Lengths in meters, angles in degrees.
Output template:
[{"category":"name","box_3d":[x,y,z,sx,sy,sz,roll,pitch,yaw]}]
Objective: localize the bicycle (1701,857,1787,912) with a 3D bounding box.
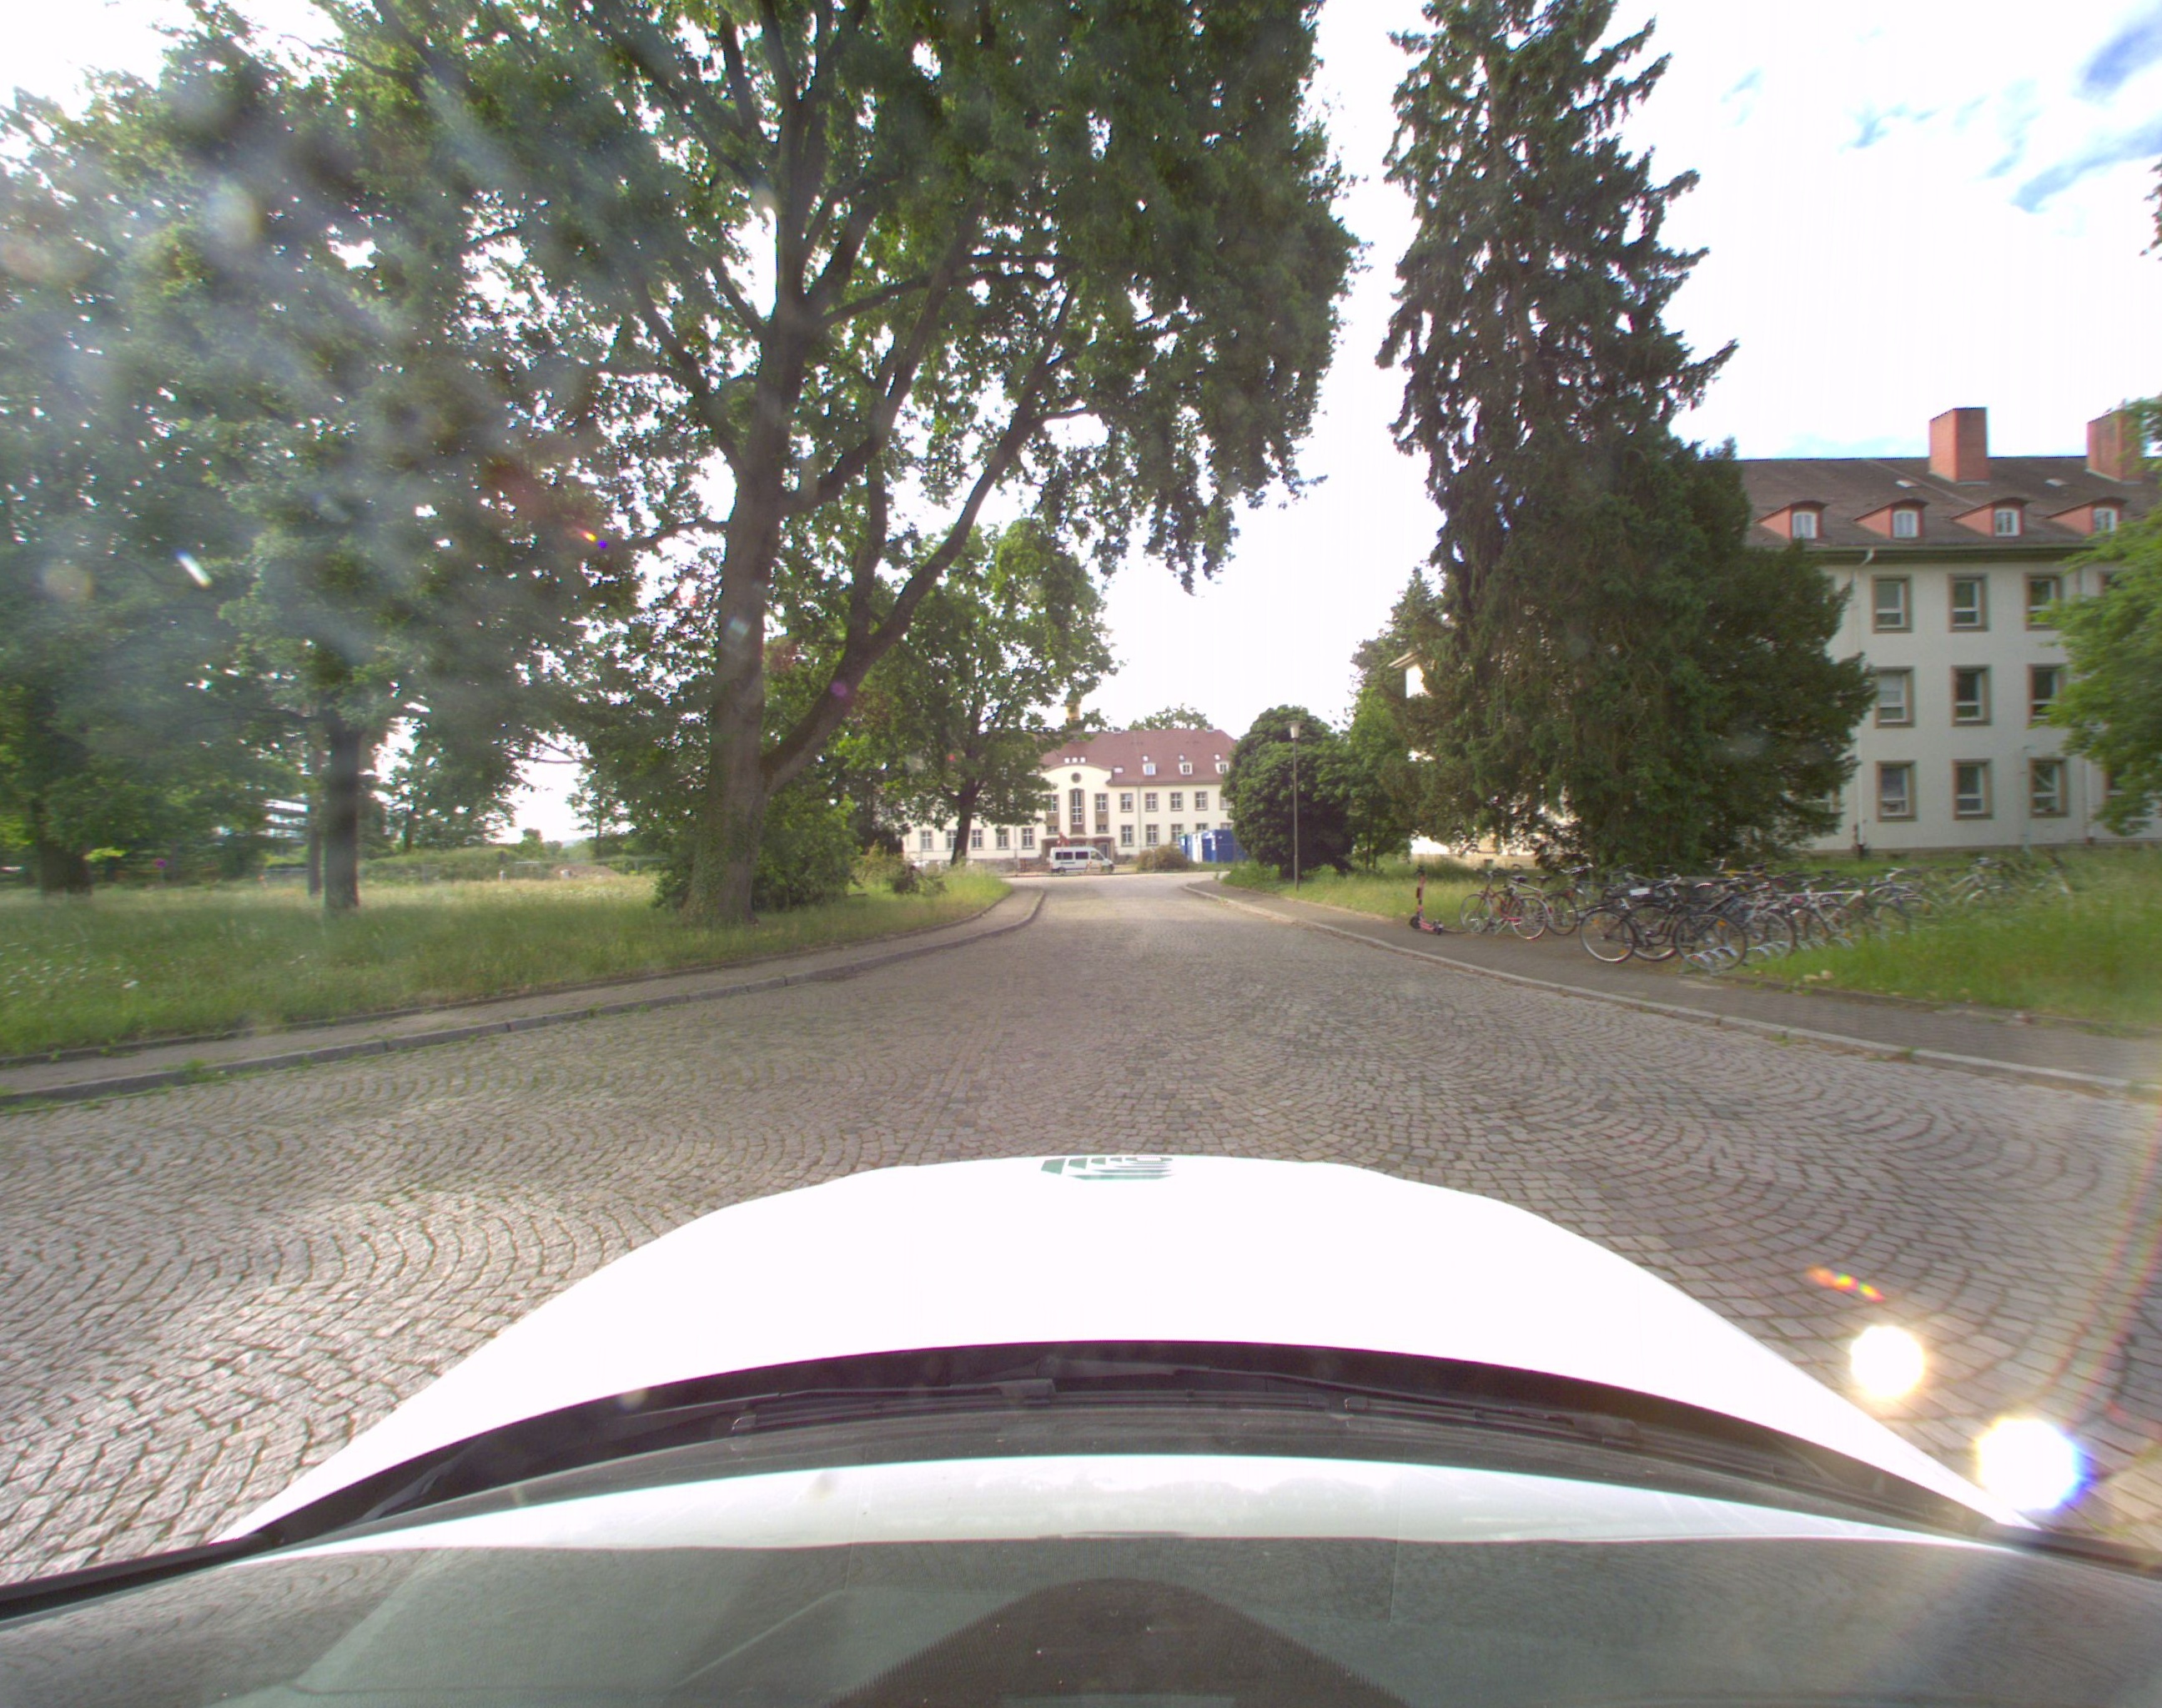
[{"category":"bicycle","box_3d":[12.920,0.594,15.905,0.434,1.029,1.254,1,-2,-20]}]

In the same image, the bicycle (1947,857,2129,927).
[{"category":"bicycle","box_3d":[13.921,0.540,11.913,0.527,0.911,1.610,-4,0,-20]}]

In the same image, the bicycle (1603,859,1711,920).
[{"category":"bicycle","box_3d":[10.540,0.633,14.951,0.547,1.035,1.501,-4,1,-31]}]

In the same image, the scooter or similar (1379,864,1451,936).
[{"category":"scooter or similar","box_3d":[6.040,0.808,14.826,0.677,1.195,1.553,-2,0,2]}]

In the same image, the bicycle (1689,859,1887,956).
[{"category":"bicycle","box_3d":[9.148,0.660,10.632,0.703,1.103,1.787,-4,0,-20]}]

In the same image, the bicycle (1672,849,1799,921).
[{"category":"bicycle","box_3d":[11.625,0.529,14.521,0.575,1.185,1.629,-4,1,-27]}]

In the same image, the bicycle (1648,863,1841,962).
[{"category":"bicycle","box_3d":[8.429,0.708,10.453,0.703,1.103,1.761,-4,0,-20]}]

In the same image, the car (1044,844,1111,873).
[{"category":"car","box_3d":[-0.285,0.372,67.754,5.499,2.206,2.125,-1,3,-2]}]

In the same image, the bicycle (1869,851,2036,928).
[{"category":"bicycle","box_3d":[13.178,0.525,12.382,0.527,1.059,1.610,-4,0,-20]}]

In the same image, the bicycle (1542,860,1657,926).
[{"category":"bicycle","box_3d":[9.151,0.670,14.441,0.541,1.073,1.613,-4,1,-31]}]

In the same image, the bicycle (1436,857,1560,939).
[{"category":"bicycle","box_3d":[6.997,0.695,13.789,0.644,1.222,1.888,-4,1,-20]}]

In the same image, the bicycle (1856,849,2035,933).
[{"category":"bicycle","box_3d":[12.718,0.525,12.049,0.542,1.116,1.690,-4,0,-20]}]

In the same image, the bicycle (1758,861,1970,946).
[{"category":"bicycle","box_3d":[10.598,0.640,11.132,0.686,1.005,1.946,-4,0,-20]}]

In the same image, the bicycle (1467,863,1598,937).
[{"category":"bicycle","box_3d":[7.692,0.740,13.993,0.644,1.114,1.978,-4,1,-20]}]

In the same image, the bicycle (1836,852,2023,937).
[{"category":"bicycle","box_3d":[12.219,0.563,11.813,0.542,1.105,1.764,-4,0,-20]}]

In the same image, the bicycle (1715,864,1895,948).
[{"category":"bicycle","box_3d":[9.750,0.674,11.058,0.632,1.001,1.685,-4,0,-20]}]
